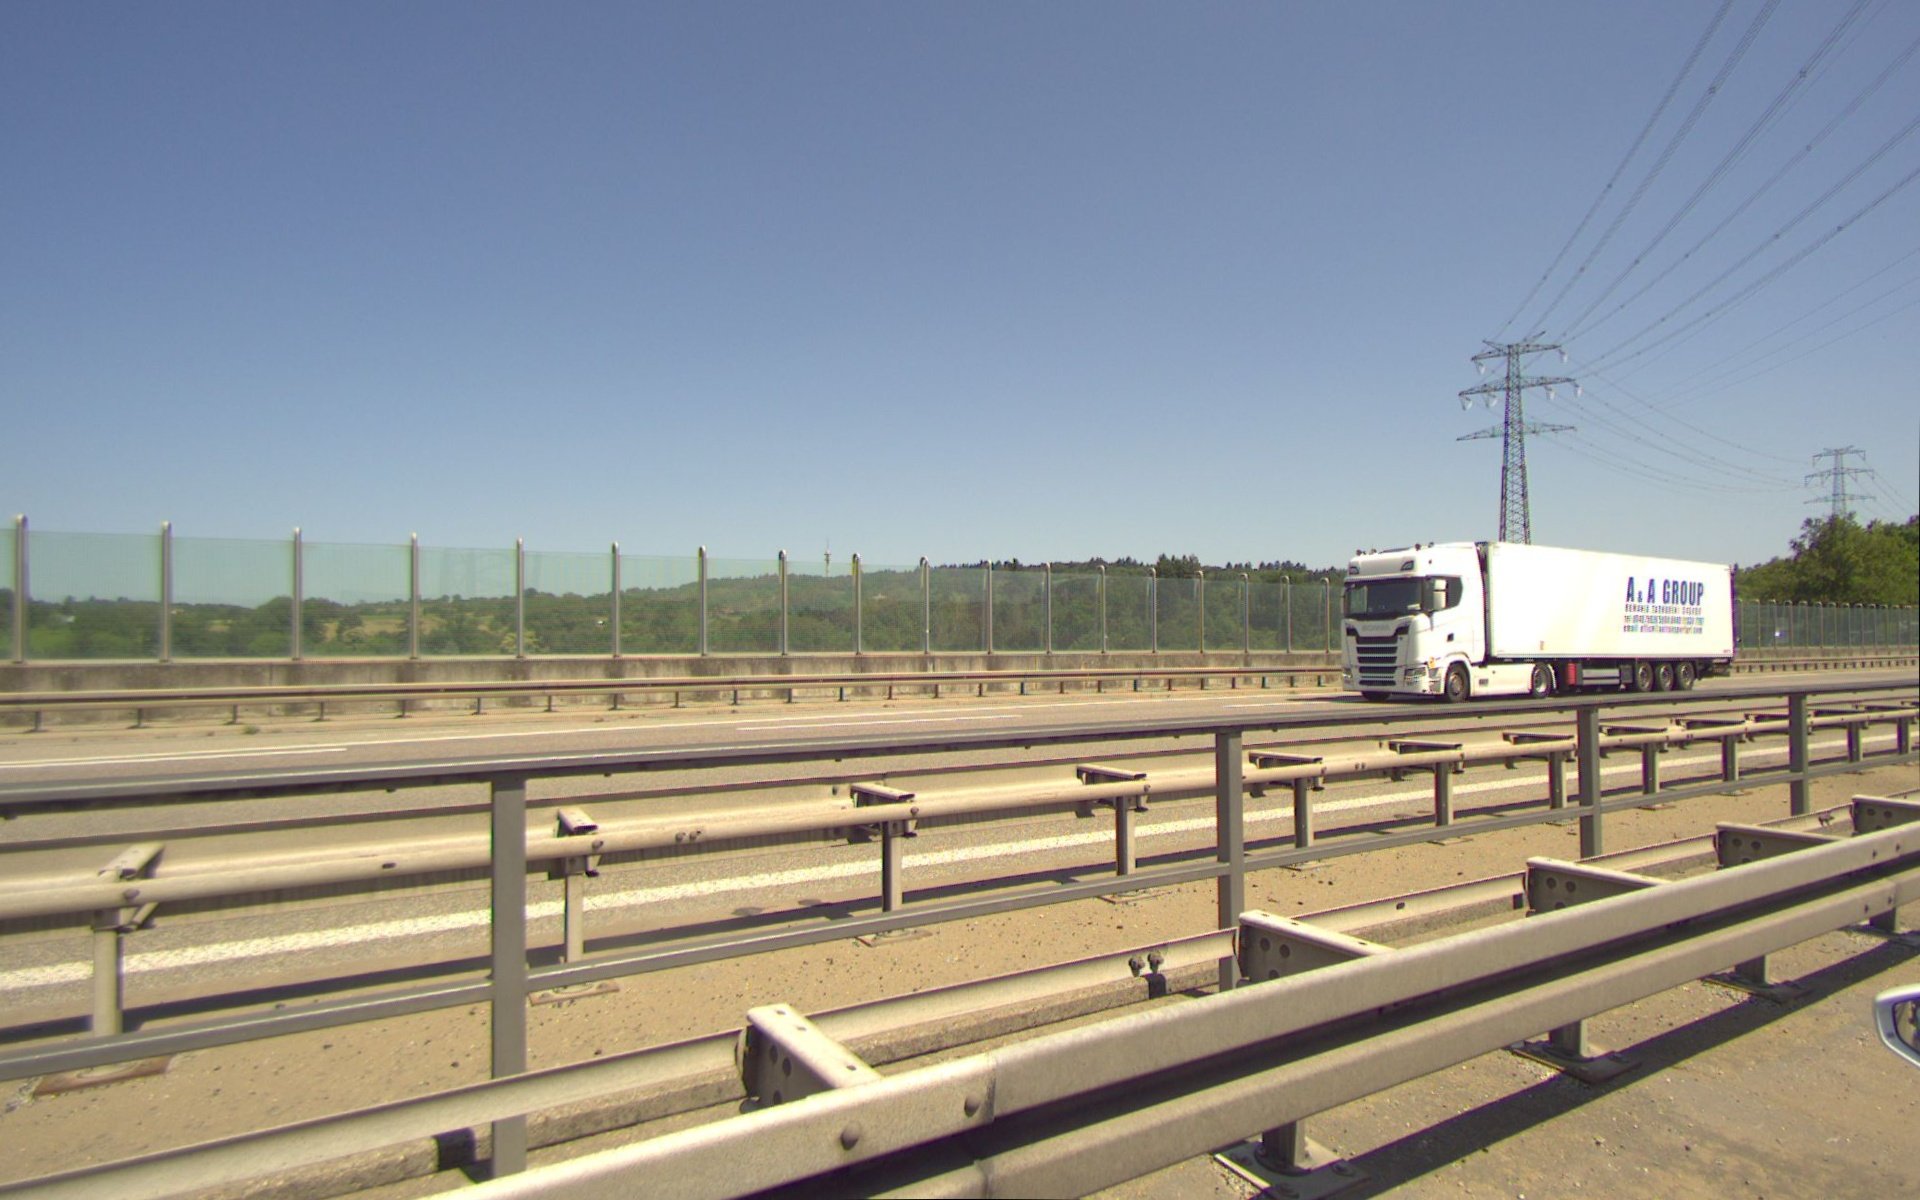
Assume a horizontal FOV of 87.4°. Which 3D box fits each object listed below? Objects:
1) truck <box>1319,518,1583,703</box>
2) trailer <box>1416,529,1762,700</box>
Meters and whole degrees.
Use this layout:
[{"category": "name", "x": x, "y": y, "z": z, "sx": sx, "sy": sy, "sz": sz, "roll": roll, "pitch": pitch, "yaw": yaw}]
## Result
[{"category": "truck", "x": 13.031, "y": 0.430, "z": 26.573, "sx": 6.776, "sy": 4.349, "sz": 2.916, "roll": 2, "pitch": -4, "yaw": -30}, {"category": "trailer", "x": 19.302, "y": 0.628, "z": 30.272, "sx": 13.501, "sy": 4.363, "sz": 2.893, "roll": 2, "pitch": -3, "yaw": -30}]
